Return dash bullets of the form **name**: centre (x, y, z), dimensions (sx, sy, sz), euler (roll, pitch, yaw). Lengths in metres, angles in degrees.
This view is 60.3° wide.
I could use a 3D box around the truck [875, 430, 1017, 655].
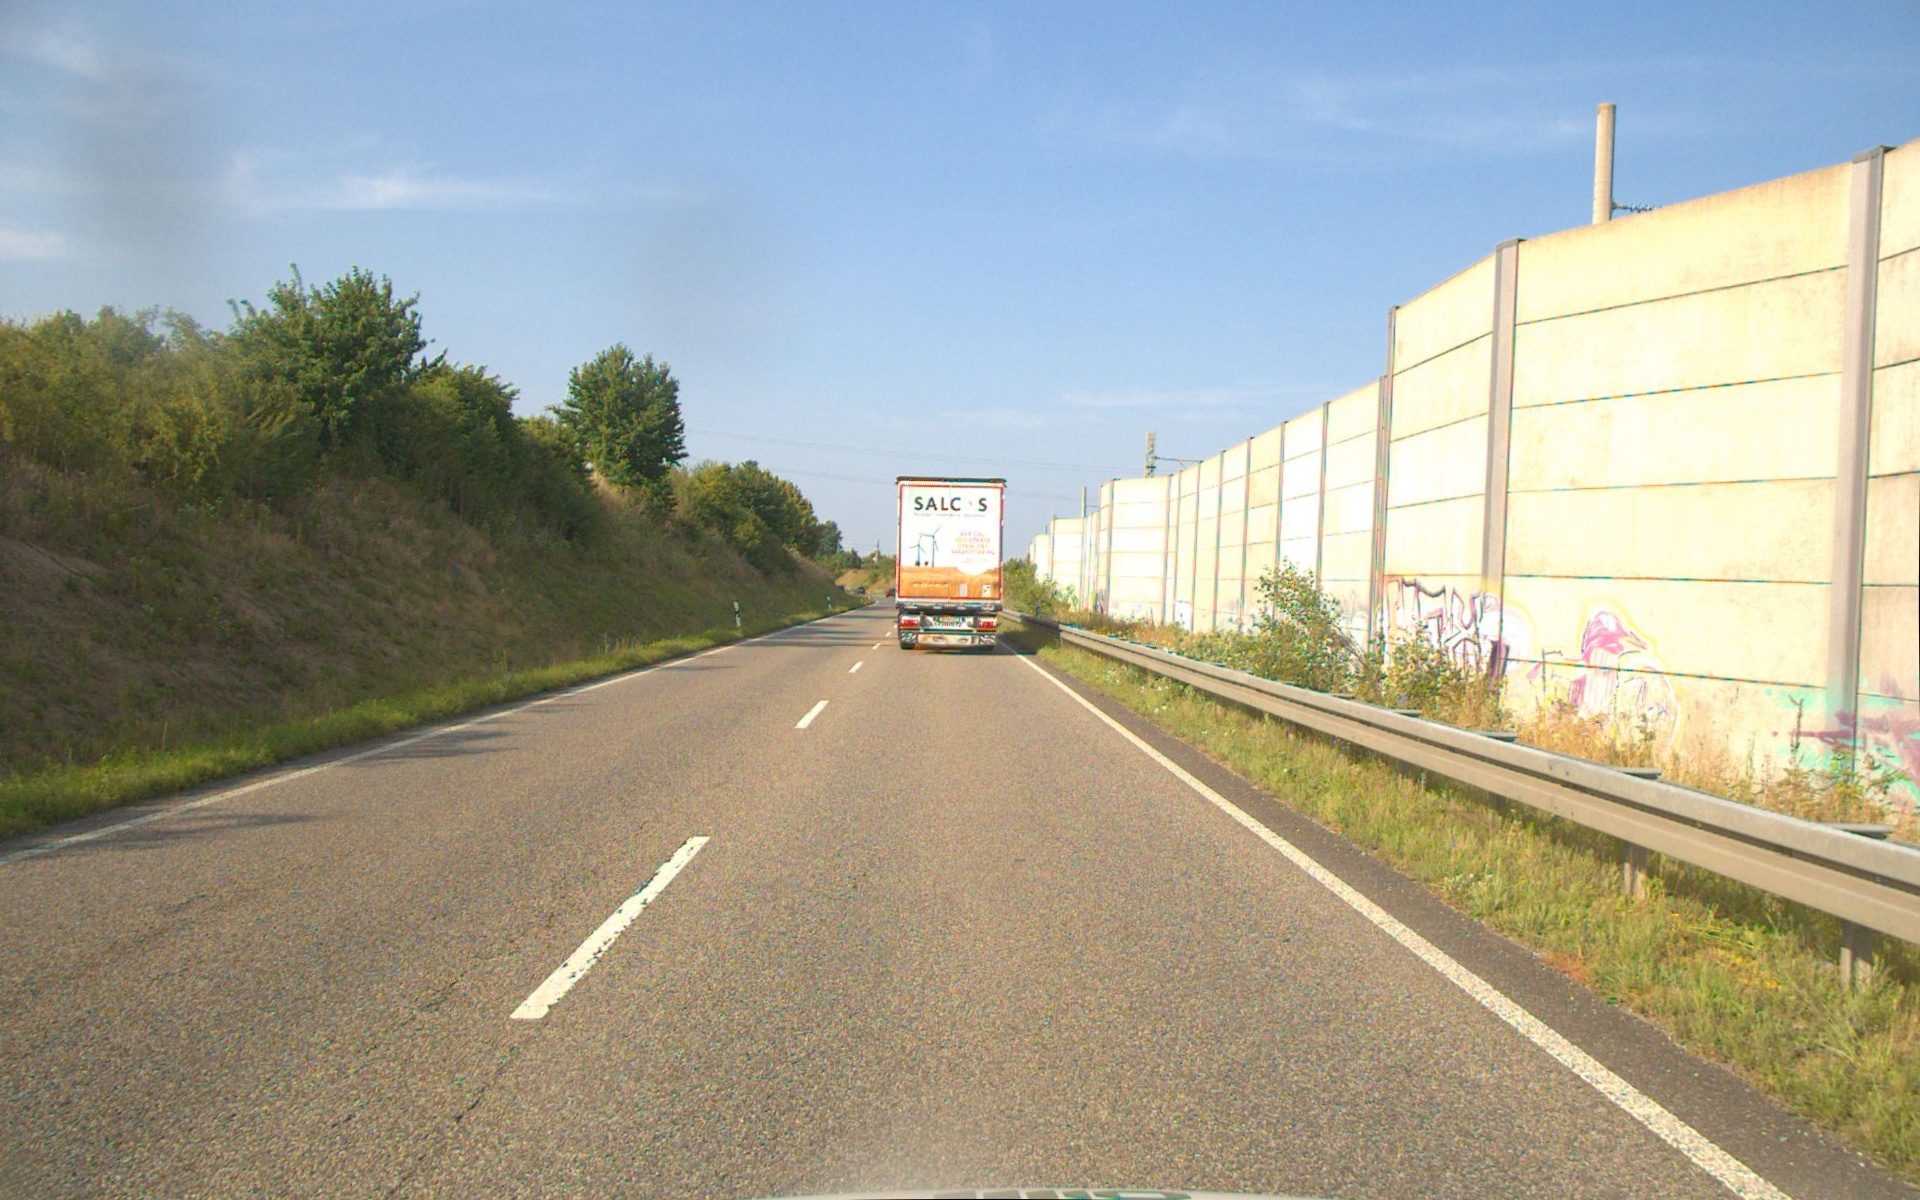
- **truck**: centre (-0.607, -1.426, 44.422), dimensions (3.225, 5.178, 12.032), euler (1, 1, -3)
